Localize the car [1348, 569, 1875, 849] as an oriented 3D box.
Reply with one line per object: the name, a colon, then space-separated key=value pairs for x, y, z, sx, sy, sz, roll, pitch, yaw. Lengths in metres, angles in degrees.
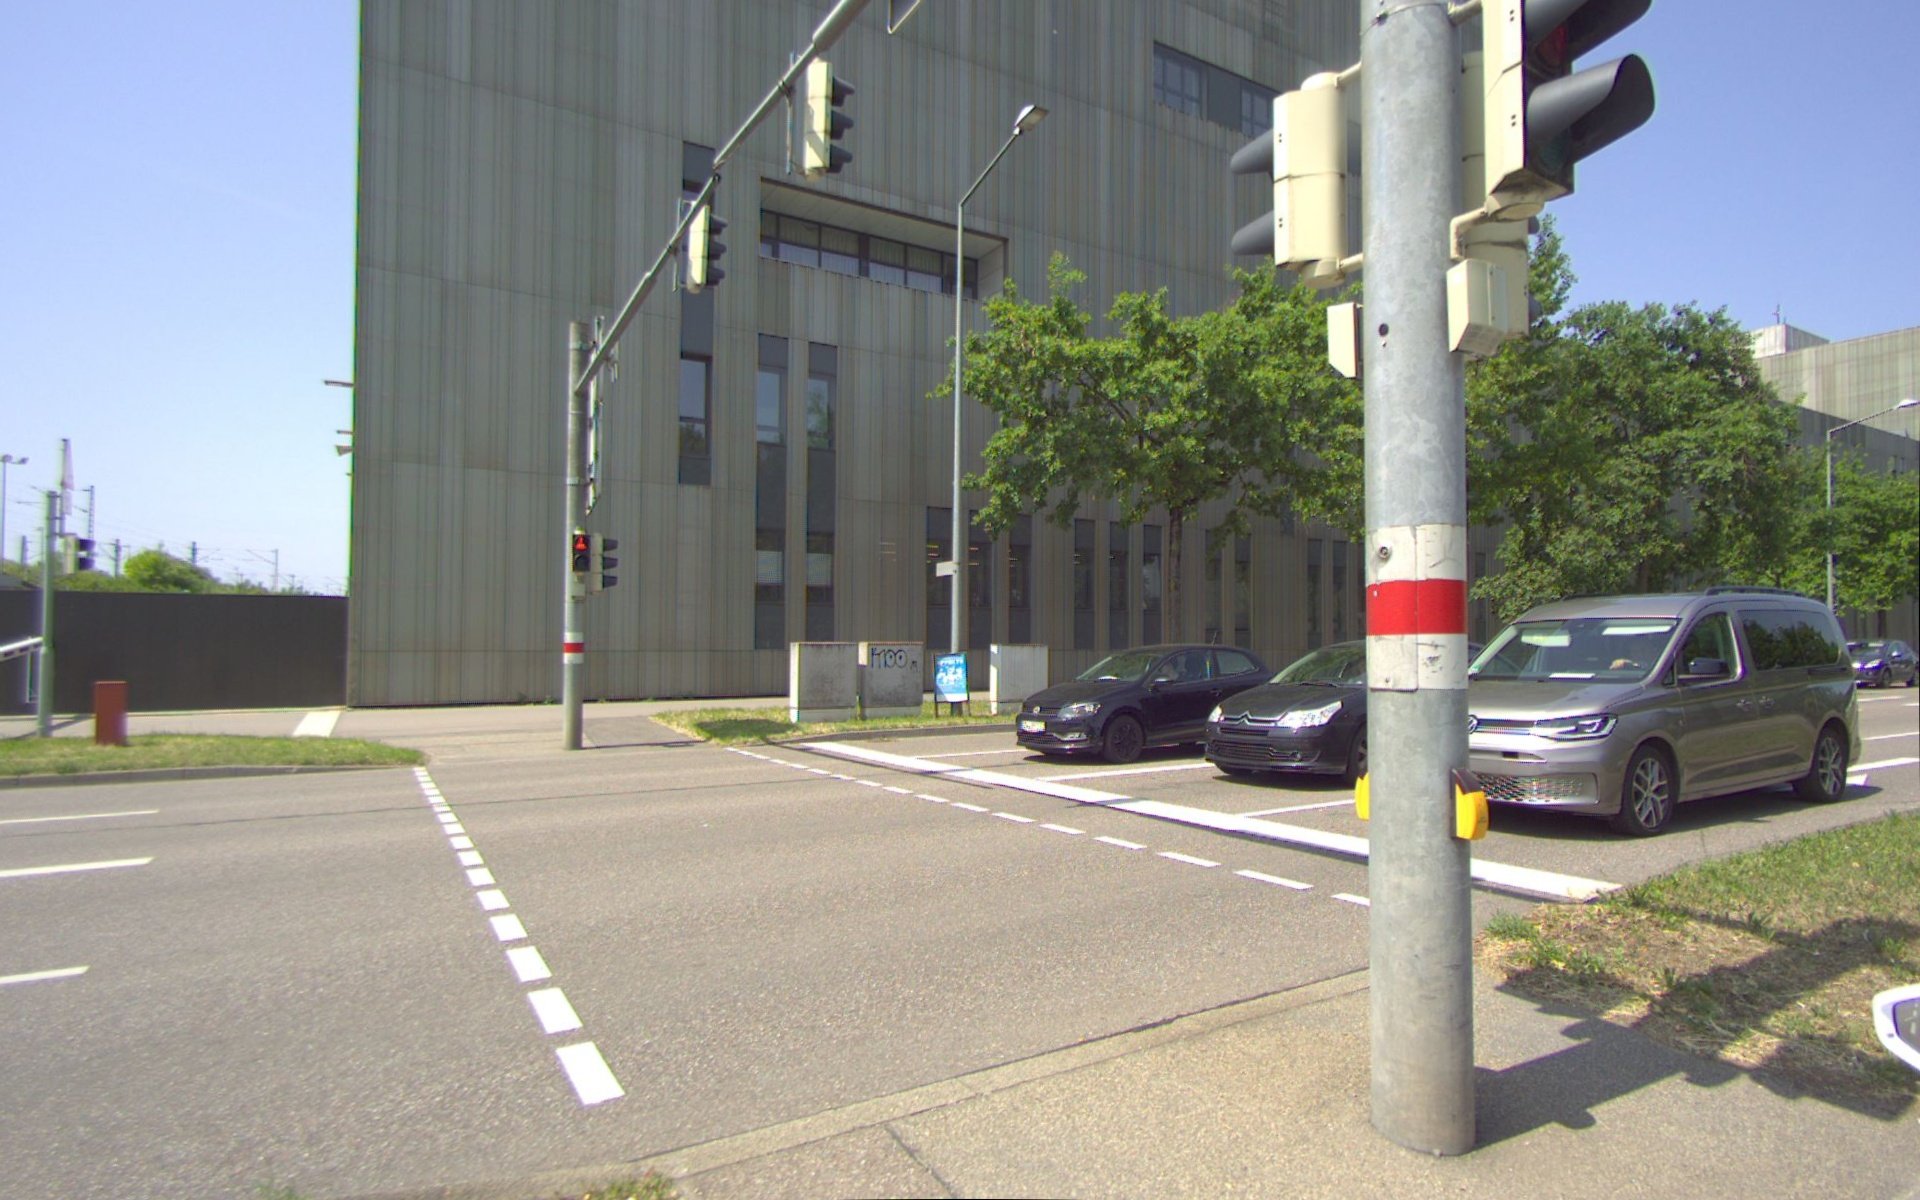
car: x=5.618 y=0.786 z=8.522 sx=4.658 sy=1.824 sz=1.802 roll=1 pitch=-3 yaw=-30

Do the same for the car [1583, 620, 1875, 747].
car: x=11.675 y=1.182 z=15.195 sx=4.516 sy=1.685 sz=1.796 roll=1 pitch=-3 yaw=-28

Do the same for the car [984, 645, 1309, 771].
car: x=2.555 y=1.330 z=13.484 sx=4.204 sy=1.435 sz=1.801 roll=1 pitch=-3 yaw=-33

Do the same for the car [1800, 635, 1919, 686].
car: x=29.884 y=1.993 z=33.333 sx=4.322 sy=1.563 sz=1.801 roll=1 pitch=-5 yaw=-33

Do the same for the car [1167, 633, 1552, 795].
car: x=4.438 y=1.111 z=10.997 sx=4.204 sy=1.465 sz=1.801 roll=1 pitch=-3 yaw=-33
